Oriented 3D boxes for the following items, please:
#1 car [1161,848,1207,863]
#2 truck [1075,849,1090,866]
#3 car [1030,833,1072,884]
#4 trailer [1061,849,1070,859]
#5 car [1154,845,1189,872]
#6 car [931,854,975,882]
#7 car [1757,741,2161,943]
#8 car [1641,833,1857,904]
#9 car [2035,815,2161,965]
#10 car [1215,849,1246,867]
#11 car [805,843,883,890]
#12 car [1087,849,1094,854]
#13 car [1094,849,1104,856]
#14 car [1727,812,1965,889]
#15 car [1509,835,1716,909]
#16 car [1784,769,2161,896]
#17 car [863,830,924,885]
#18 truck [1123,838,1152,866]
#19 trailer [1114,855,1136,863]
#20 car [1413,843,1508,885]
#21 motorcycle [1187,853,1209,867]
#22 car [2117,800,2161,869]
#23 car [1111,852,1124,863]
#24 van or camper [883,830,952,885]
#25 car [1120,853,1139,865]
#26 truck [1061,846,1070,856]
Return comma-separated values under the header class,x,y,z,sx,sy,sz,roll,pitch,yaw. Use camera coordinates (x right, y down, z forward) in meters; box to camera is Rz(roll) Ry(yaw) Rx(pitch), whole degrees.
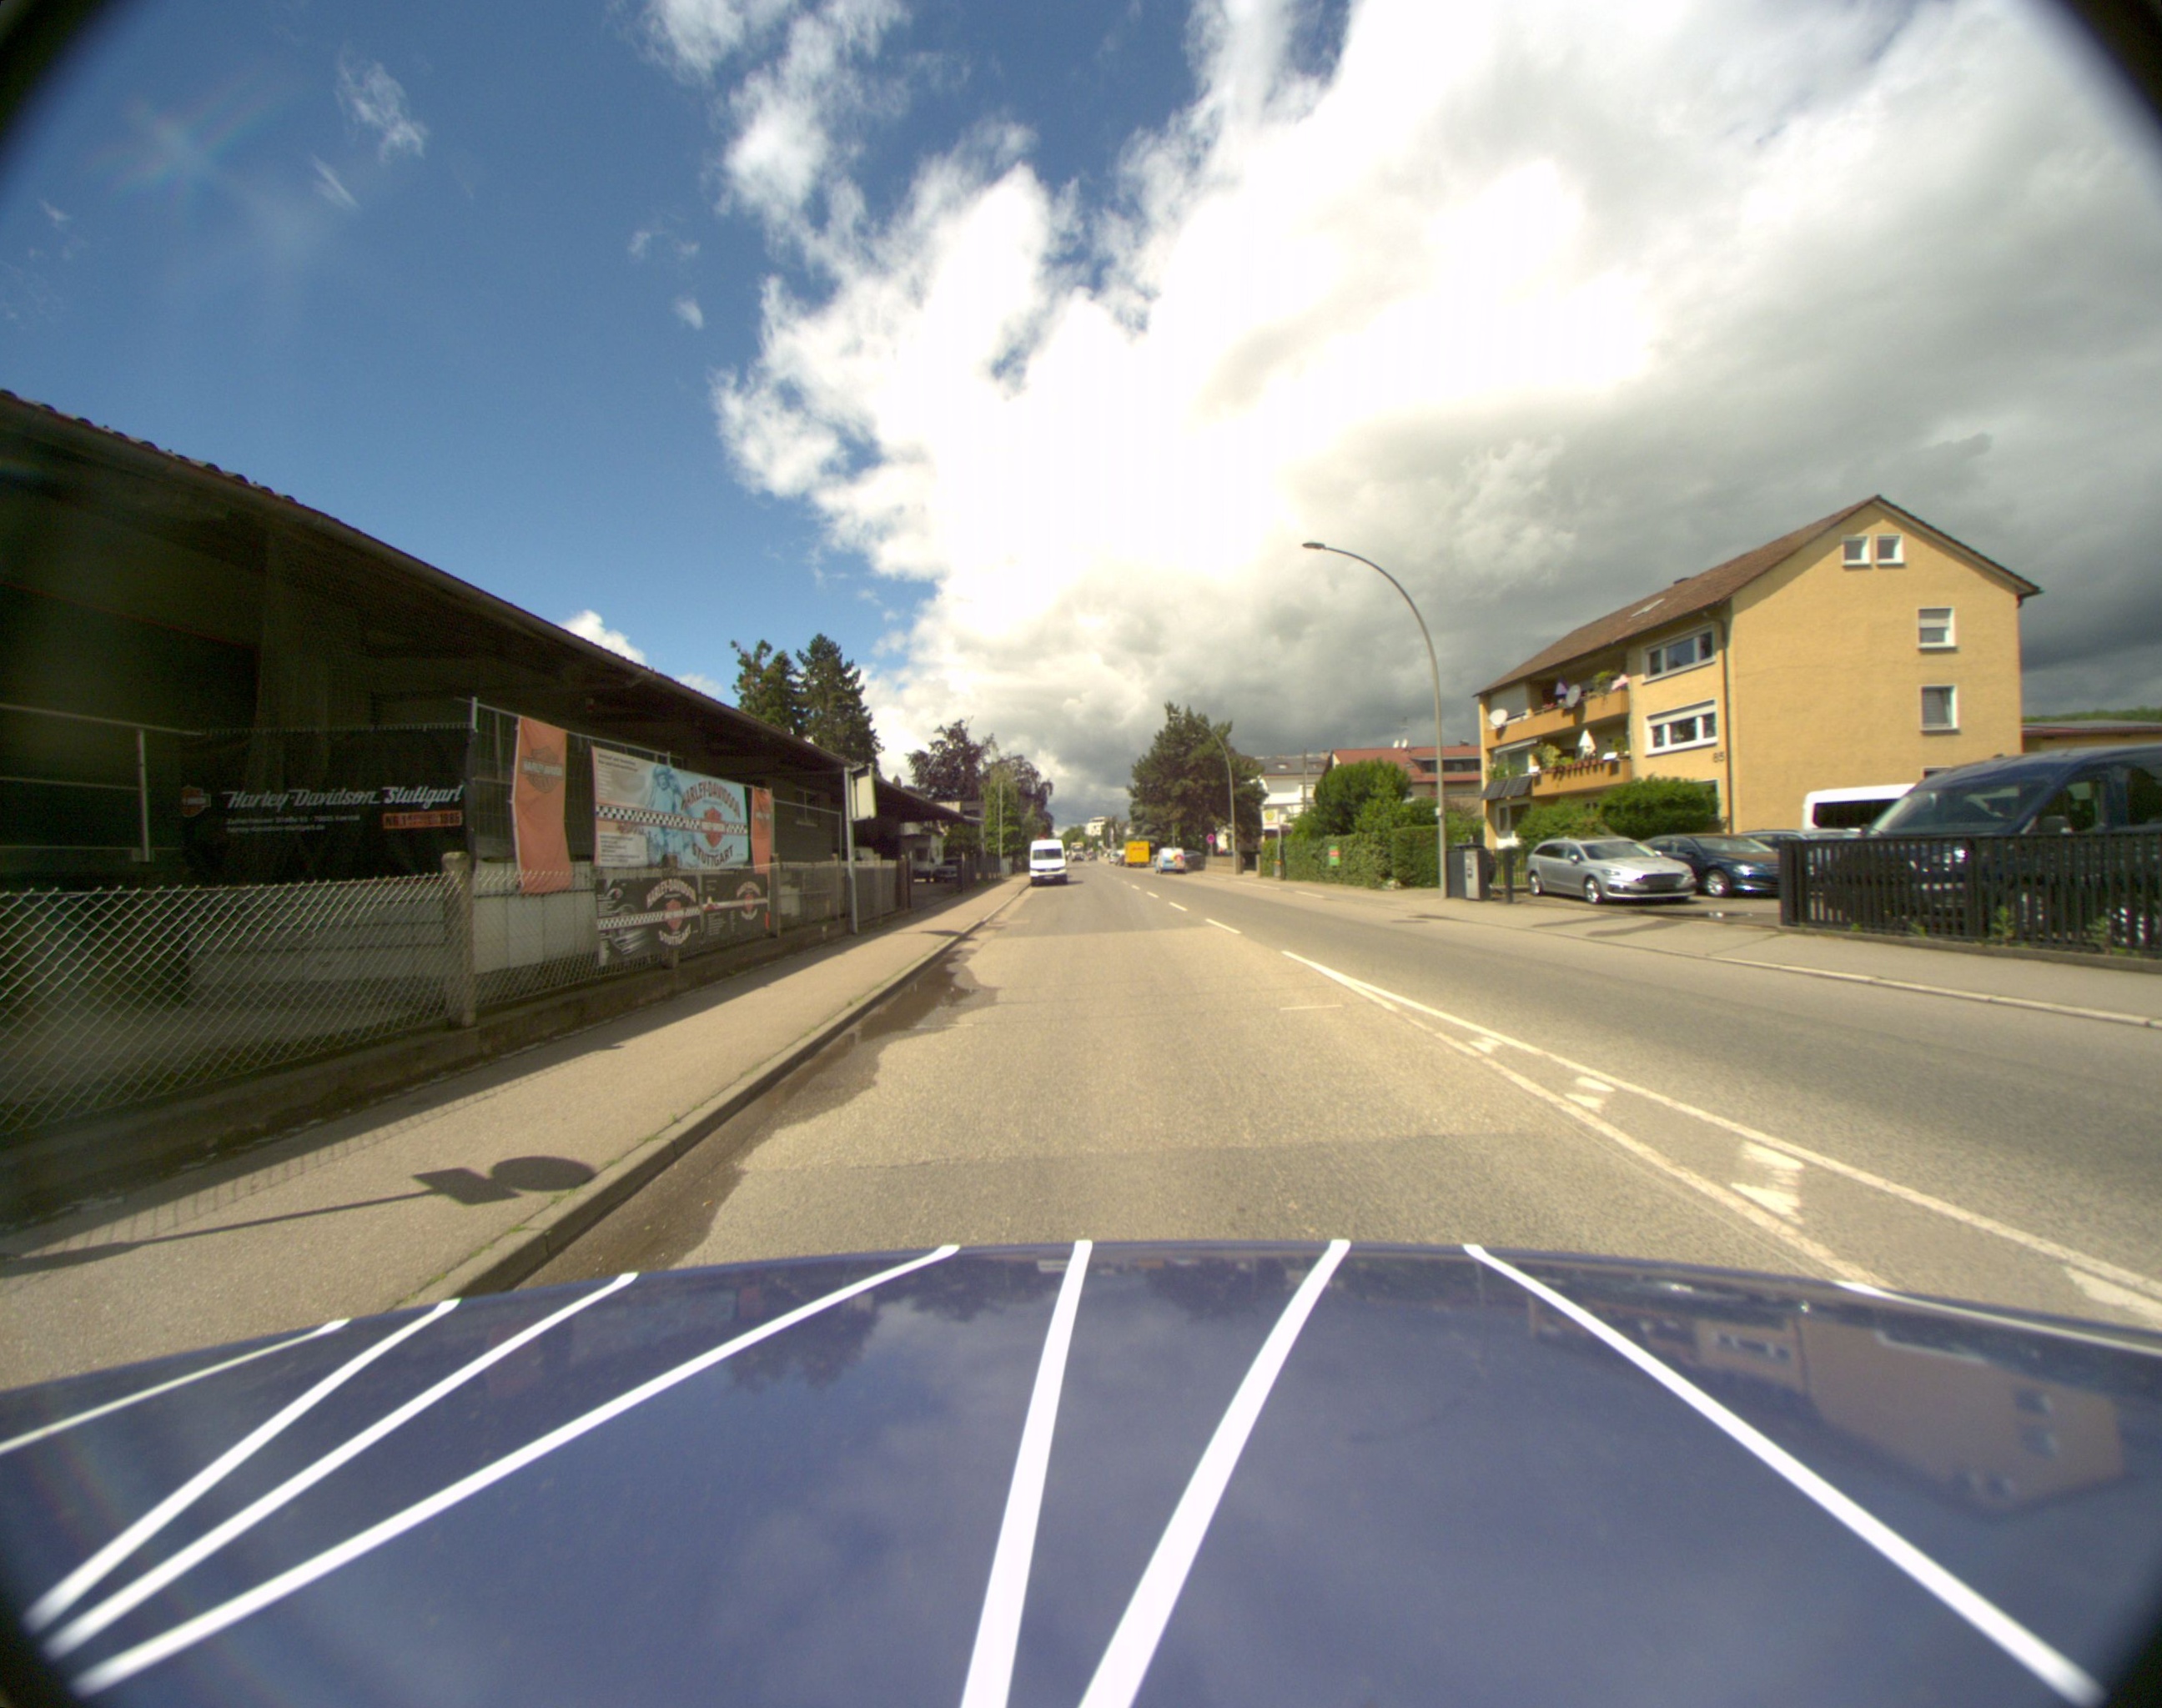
class,x,y,z,sx,sy,sz,roll,pitch,yaw
car,11.910,0.114,87.989,5.021,1.543,1.972,-2,1,-2
truck,0.279,0.692,158.688,2.880,3.290,8.605,-4,1,-1
car,-1.718,0.230,43.763,2.221,2.673,6.656,-1,0,-2
trailer,-3.615,-0.051,177.280,2.045,2.214,5.078,-1,0,0
car,6.561,0.343,55.623,1.838,1.842,4.895,1,-1,-1
car,-7.487,0.819,44.754,1.769,1.480,4.926,-2,0,-1
car,13.830,-0.197,10.919,6.053,2.482,2.477,-2,0,-1
car,15.353,0.285,17.826,1.848,1.418,4.334,-1,0,11
car,12.494,0.354,6.958,2.037,1.585,4.283,-2,0,-4
car,13.669,0.365,69.659,1.772,1.534,4.086,-2,0,-5
car,-10.487,0.555,34.038,1.999,1.898,4.852,-2,0,-1
car,2.825,-0.706,228.595,1.987,1.412,3.999,-1,0,-3
car,3.829,-0.269,162.297,1.906,1.509,4.317,-1,0,-2
car,17.842,-0.092,18.069,1.848,1.568,4.334,-1,0,11
car,12.450,0.349,18.341,1.997,1.477,5.344,-2,0,10
car,20.568,-0.439,17.930,2.418,2.481,6.135,0,0,2
car,-9.996,0.224,40.899,2.023,2.665,5.497,-2,-1,-2
truck,6.293,-0.193,85.560,2.330,2.986,7.816,0,0,-2
trailer,5.717,0.665,99.579,2.324,0.985,7.457,0,0,-1
car,14.260,0.328,28.836,1.848,1.418,4.332,-2,0,7
motorcycle,10.556,0.526,68.469,1.872,1.159,0.825,-2,0,16
car,28.637,-0.522,18.156,1.849,1.781,4.330,-2,0,0
car,5.640,0.467,117.302,1.809,1.666,4.127,0,0,-1
van or camper,-9.931,0.202,46.924,2.889,3.043,6.911,-2,0,-2
car,5.936,0.576,93.266,1.999,1.445,4.811,2,0,-1
truck,-4.654,-0.943,228.882,2.411,2.722,6.639,-4,1,-1
